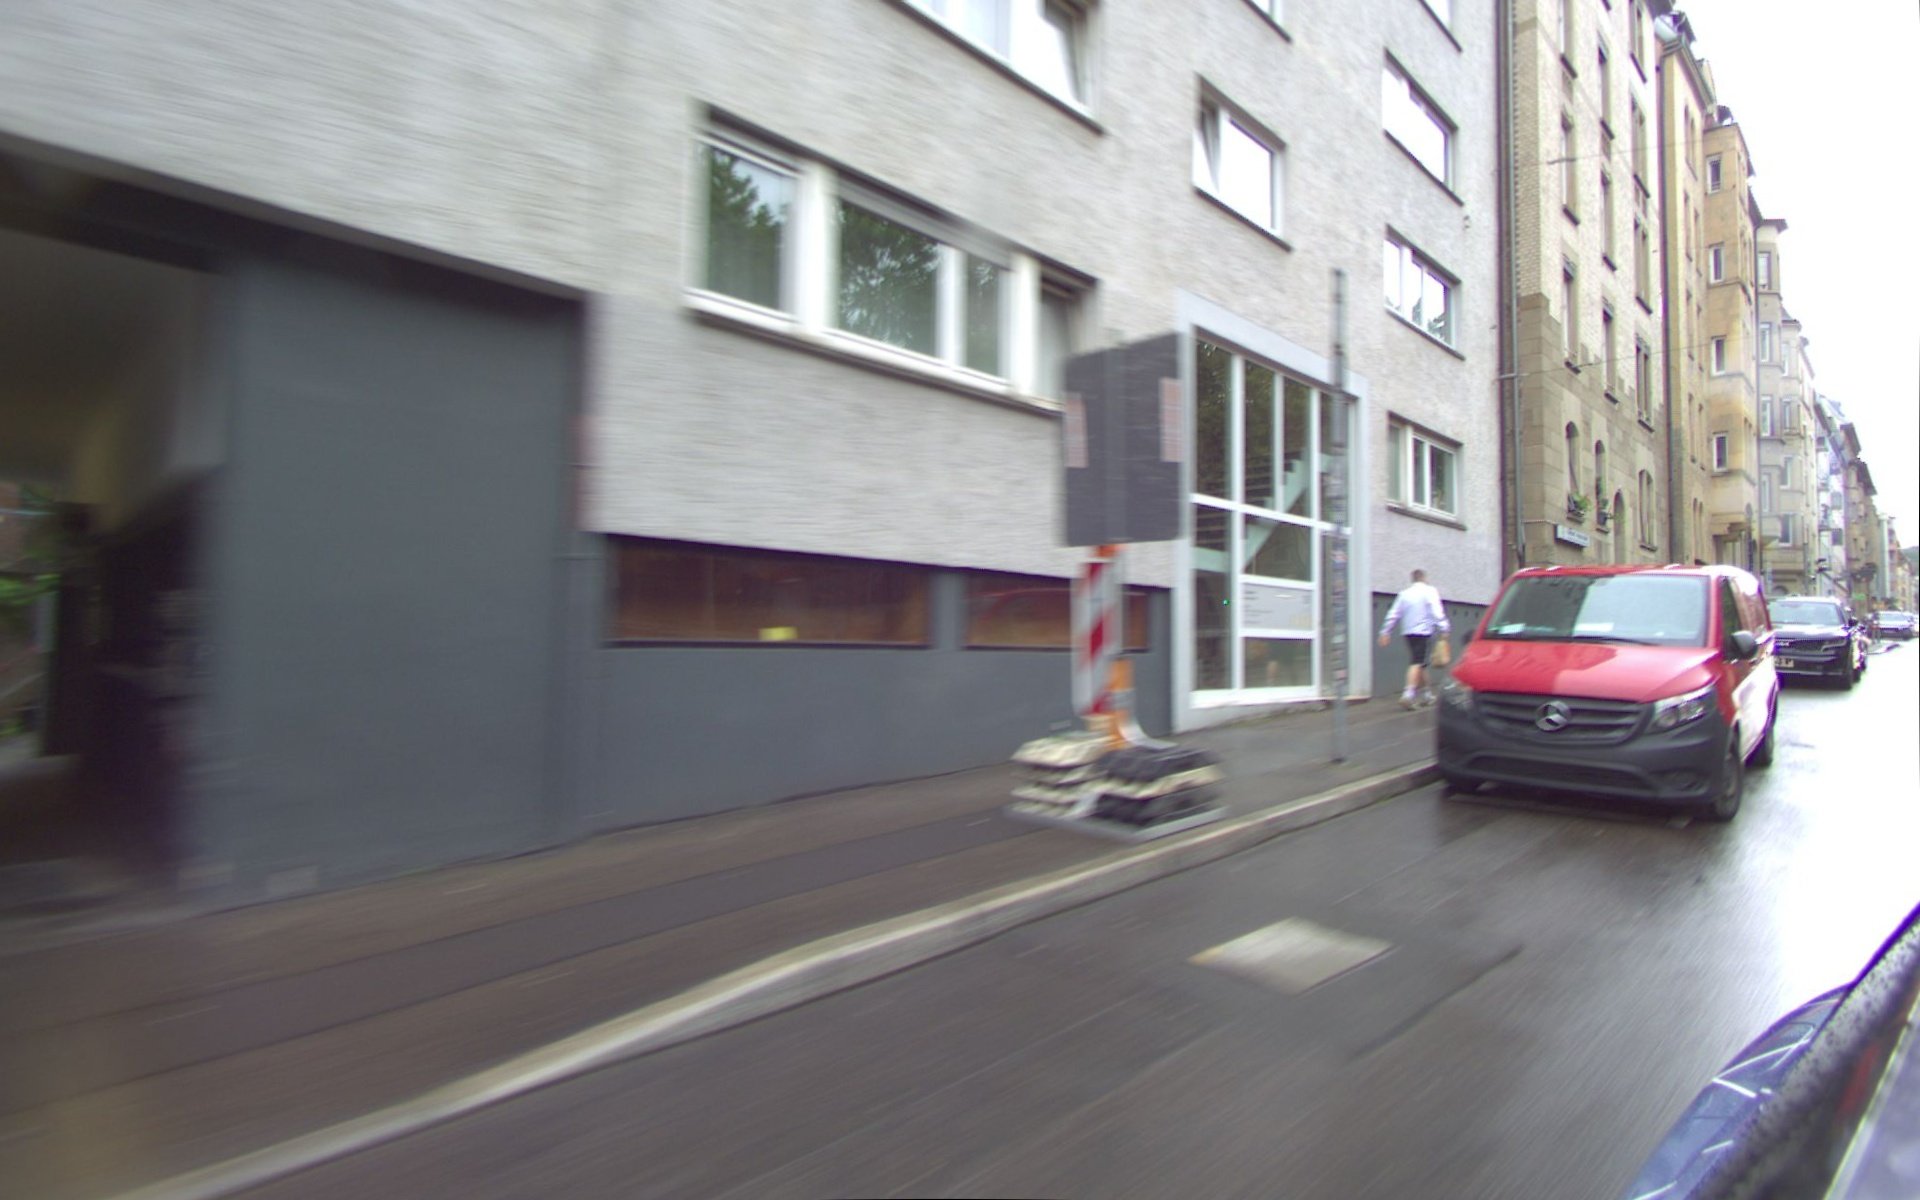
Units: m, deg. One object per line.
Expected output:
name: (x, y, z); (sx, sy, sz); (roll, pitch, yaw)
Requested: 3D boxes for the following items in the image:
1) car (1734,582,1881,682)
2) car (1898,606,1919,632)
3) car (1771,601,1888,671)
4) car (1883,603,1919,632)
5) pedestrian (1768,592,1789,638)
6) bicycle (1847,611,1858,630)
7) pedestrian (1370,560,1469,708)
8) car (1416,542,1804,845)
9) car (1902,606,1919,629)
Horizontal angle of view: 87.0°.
car: (16.585, 0.593, 19.728); (4.425, 1.730, 1.766); (1, -2, -45)
car: (66.582, 1.308, 70.424); (1.741, 1.762, 3.935); (-1, -2, 45)
car: (20.375, 0.798, 23.666); (3.548, 1.471, 1.663); (-1, -1, -43)
car: (53.499, 1.001, 57.308); (1.741, 1.607, 3.936); (-1, -2, 44)
pedestrian: (32.186, 0.597, 39.792); (0.565, 1.775, 0.579); (4, -3, -44)
bicycle: (50.404, 1.175, 57.132); (1.647, 1.027, 0.339); (3, 0, -44)
pedestrian: (5.800, 0.422, 12.783); (0.823, 1.780, 0.851); (1, -3, -45)
car: (5.891, 0.588, 8.811); (1.974, 1.862, 5.164); (-1, -1, 43)
car: (71.550, 1.299, 75.498); (1.741, 1.680, 3.935); (-1, -2, 45)
